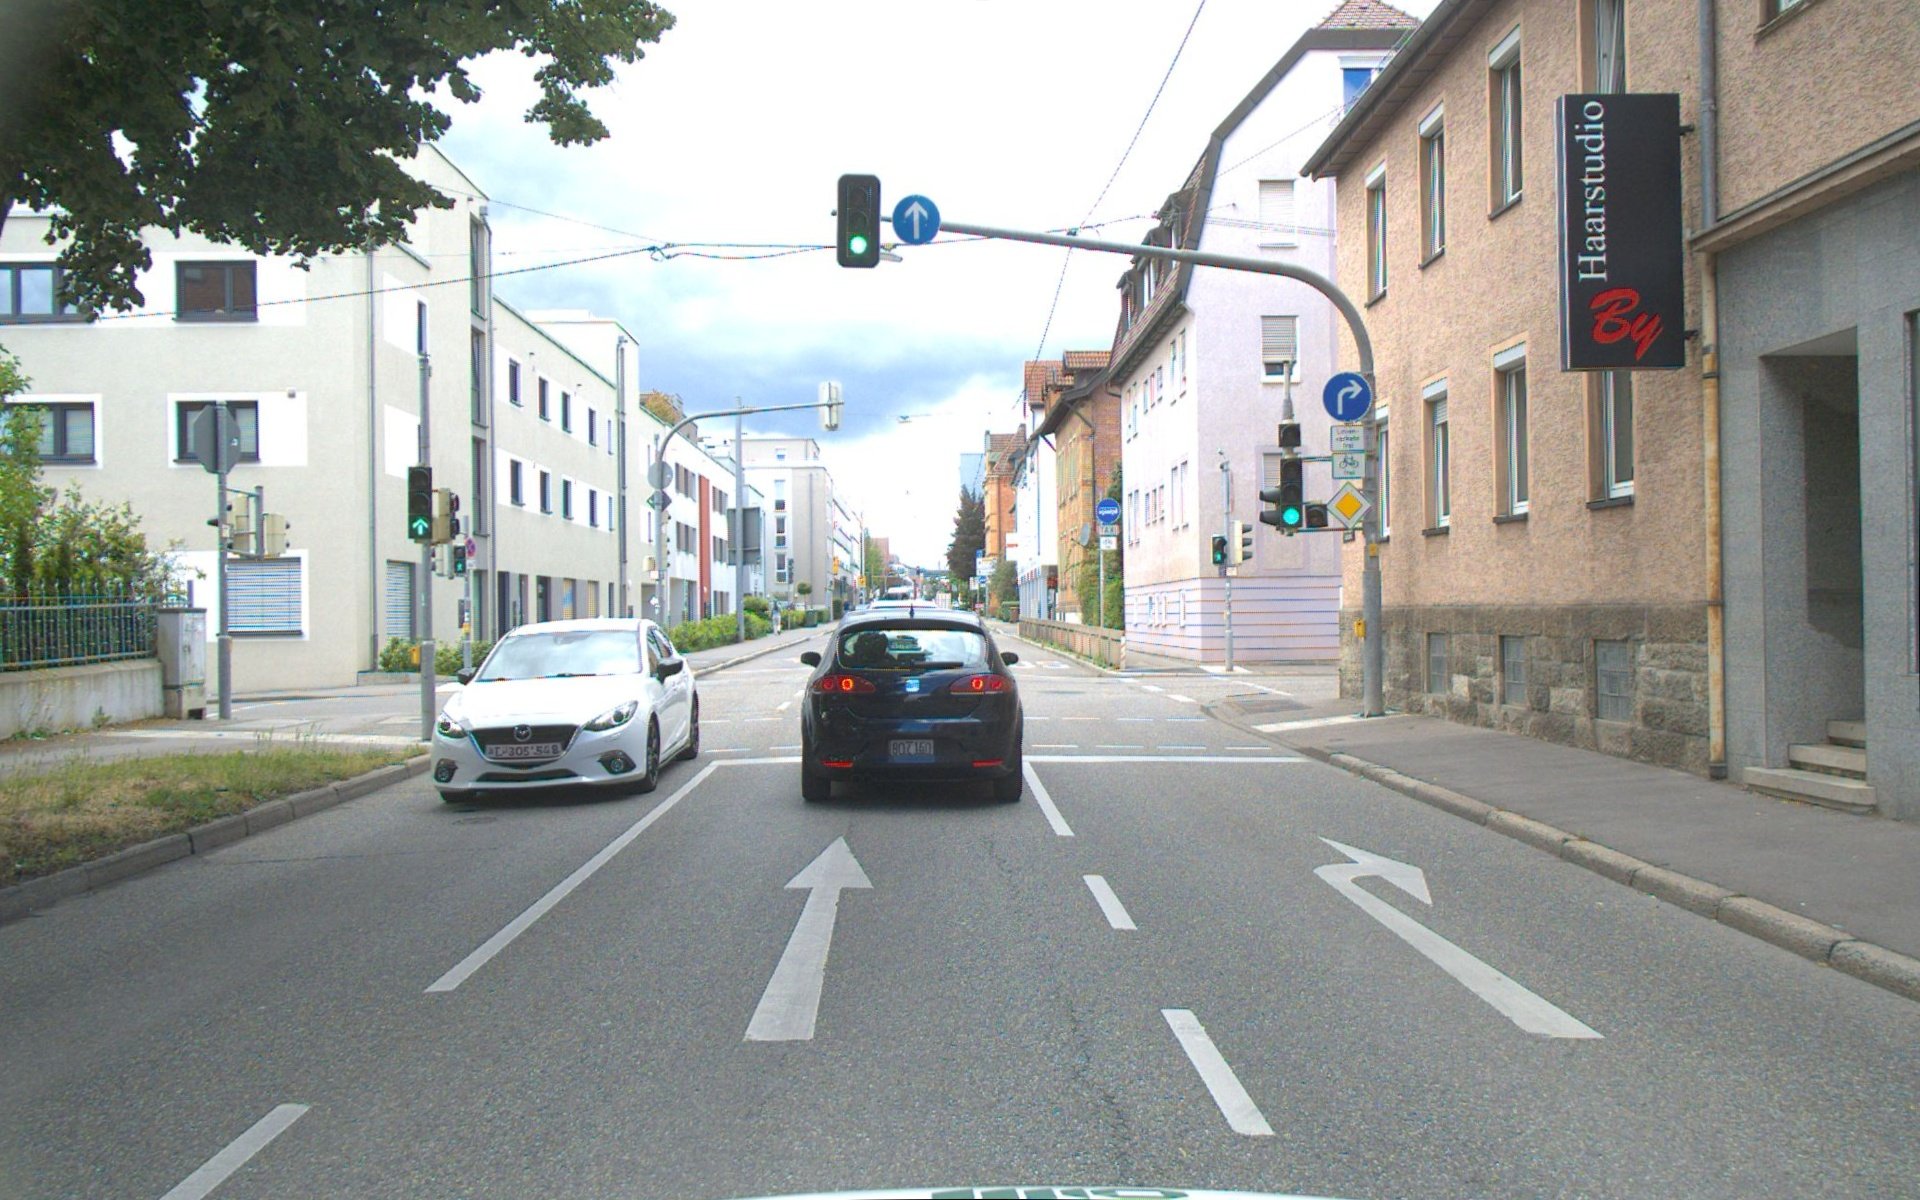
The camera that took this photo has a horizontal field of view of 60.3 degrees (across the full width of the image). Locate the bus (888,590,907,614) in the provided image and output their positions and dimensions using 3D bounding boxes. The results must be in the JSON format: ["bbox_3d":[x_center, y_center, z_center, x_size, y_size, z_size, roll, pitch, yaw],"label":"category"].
[{"bbox_3d":[-7.954,0.290,210.568,2.165,2.937,8.916,1,-1,-1],"label":"bus"}]

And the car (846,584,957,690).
[{"bbox_3d":[-1.020,0.632,29.164,1.805,1.723,3.998,1,-1,-2],"label":"car"}]

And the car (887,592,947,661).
[{"bbox_3d":[-1.132,0.698,43.689,1.500,1.723,3.691,1,-1,-2],"label":"car"}]

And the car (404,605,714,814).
[{"bbox_3d":[-3.388,0.860,14.799,1.731,1.495,4.225,-3,-1,-1],"label":"car"}]

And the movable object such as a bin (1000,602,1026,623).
[{"bbox_3d":[3.764,0.911,118.405,1.781,1.462,1.992,1,-1,-1],"label":"movable object such as a bin"}]

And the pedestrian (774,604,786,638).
[{"bbox_3d":[-8.281,0.956,76.091,0.516,1.575,0.541,1,-1,-2],"label":"pedestrian"}]

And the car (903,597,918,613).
[{"bbox_3d":[-5.344,0.557,178.982,1.500,1.722,3.692,-1,0,-2],"label":"car"}]

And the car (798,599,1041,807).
[{"bbox_3d":[-0.330,0.759,13.817,1.723,1.467,3.999,1,-1,-1],"label":"car"}]

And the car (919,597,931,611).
[{"bbox_3d":[-4.354,0.526,207.002,1.500,1.723,3.692,-1,0,-2],"label":"car"}]

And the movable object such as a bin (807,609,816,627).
[{"bbox_3d":[-9.077,1.126,101.059,0.538,1.097,0.611,1,-1,-1],"label":"movable object such as a bin"}]

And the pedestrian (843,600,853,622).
[{"bbox_3d":[-8.907,0.880,131.397,0.716,1.759,0.859,1,-1,-2],"label":"pedestrian"}]
